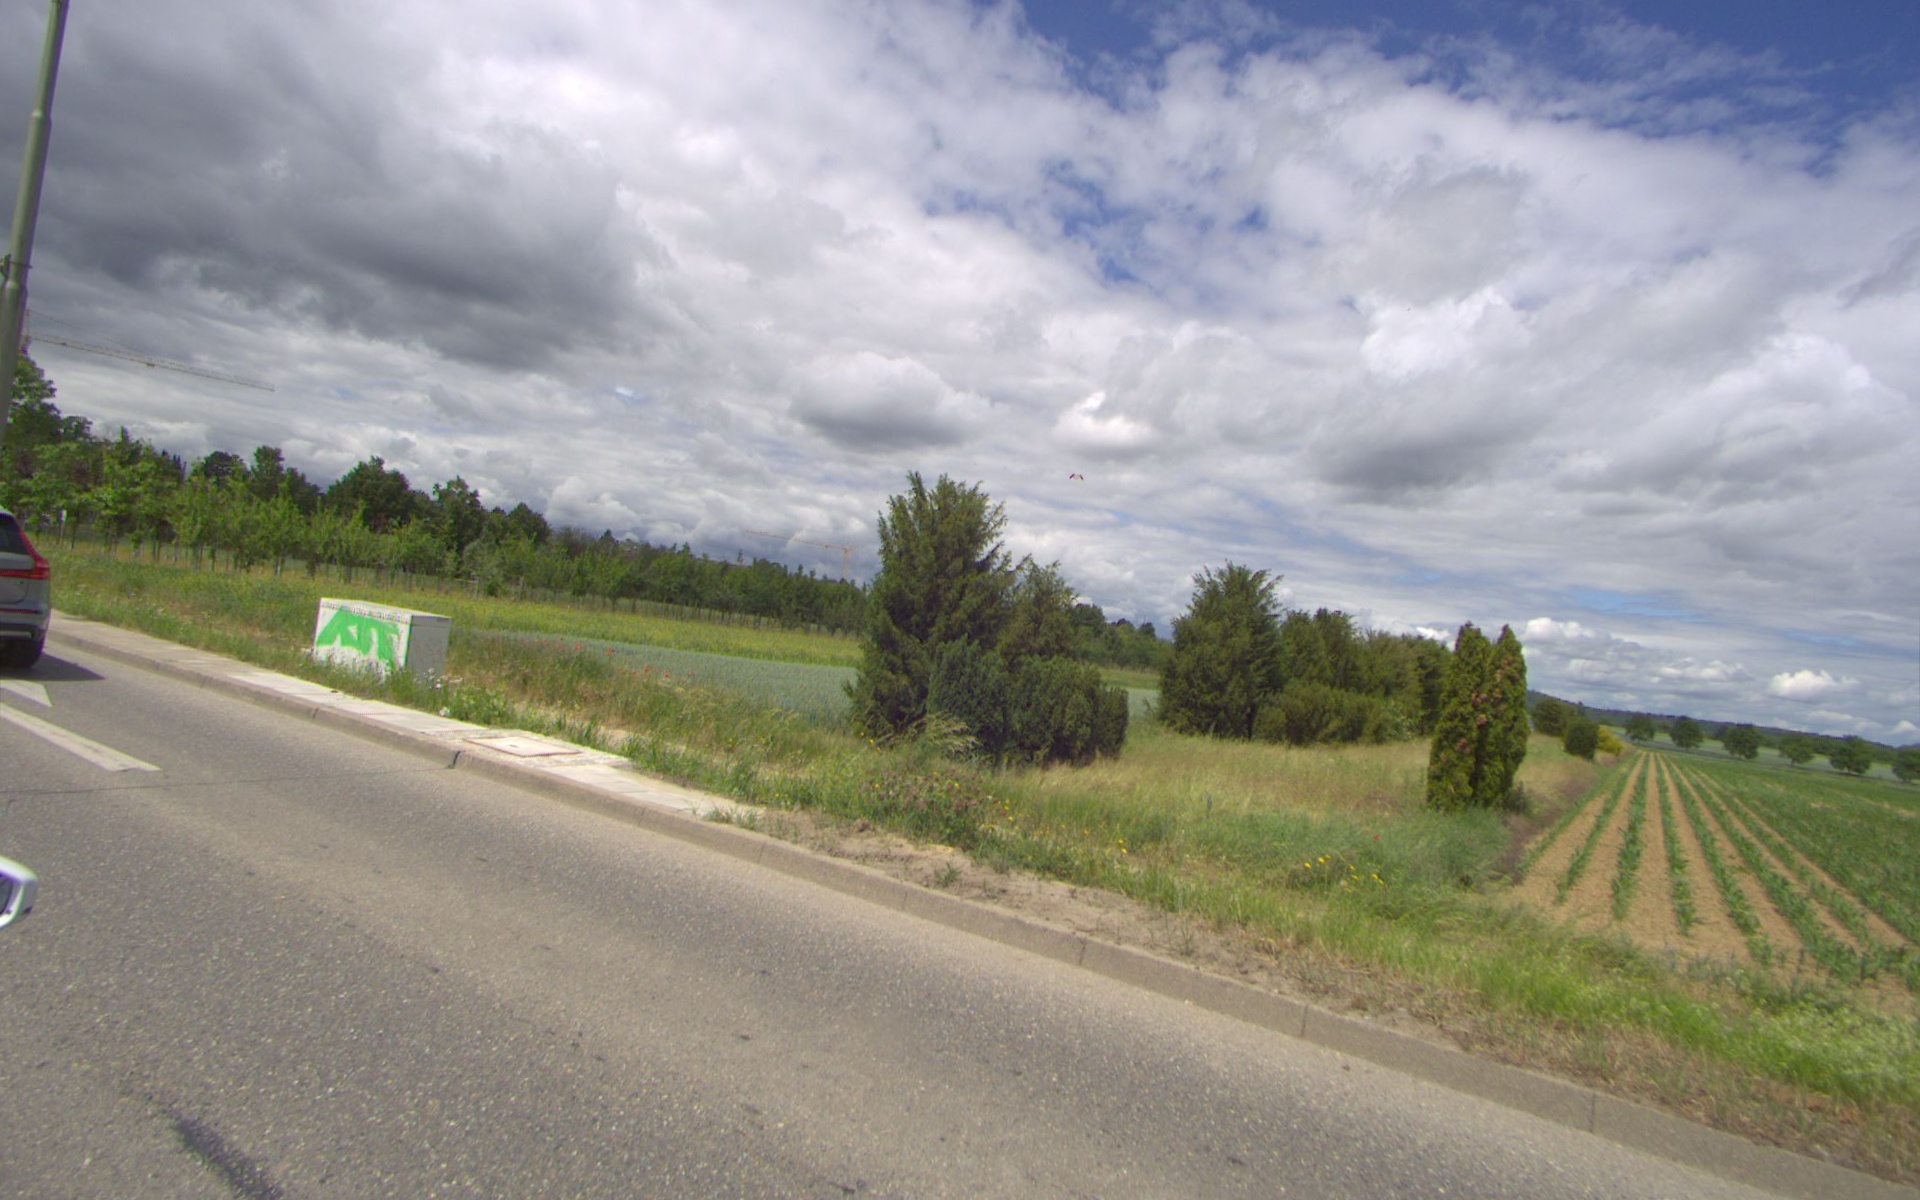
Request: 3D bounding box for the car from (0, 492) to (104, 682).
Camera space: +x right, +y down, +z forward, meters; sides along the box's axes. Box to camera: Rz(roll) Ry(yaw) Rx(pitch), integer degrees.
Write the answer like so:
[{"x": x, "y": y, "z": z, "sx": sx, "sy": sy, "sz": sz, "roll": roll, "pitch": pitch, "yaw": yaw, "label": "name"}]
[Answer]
[{"x": -9.805, "y": -0.308, "z": 9.014, "sx": 4.268, "sy": 1.544, "sz": 1.960, "roll": 6, "pitch": 0, "yaw": 32, "label": "car"}]
